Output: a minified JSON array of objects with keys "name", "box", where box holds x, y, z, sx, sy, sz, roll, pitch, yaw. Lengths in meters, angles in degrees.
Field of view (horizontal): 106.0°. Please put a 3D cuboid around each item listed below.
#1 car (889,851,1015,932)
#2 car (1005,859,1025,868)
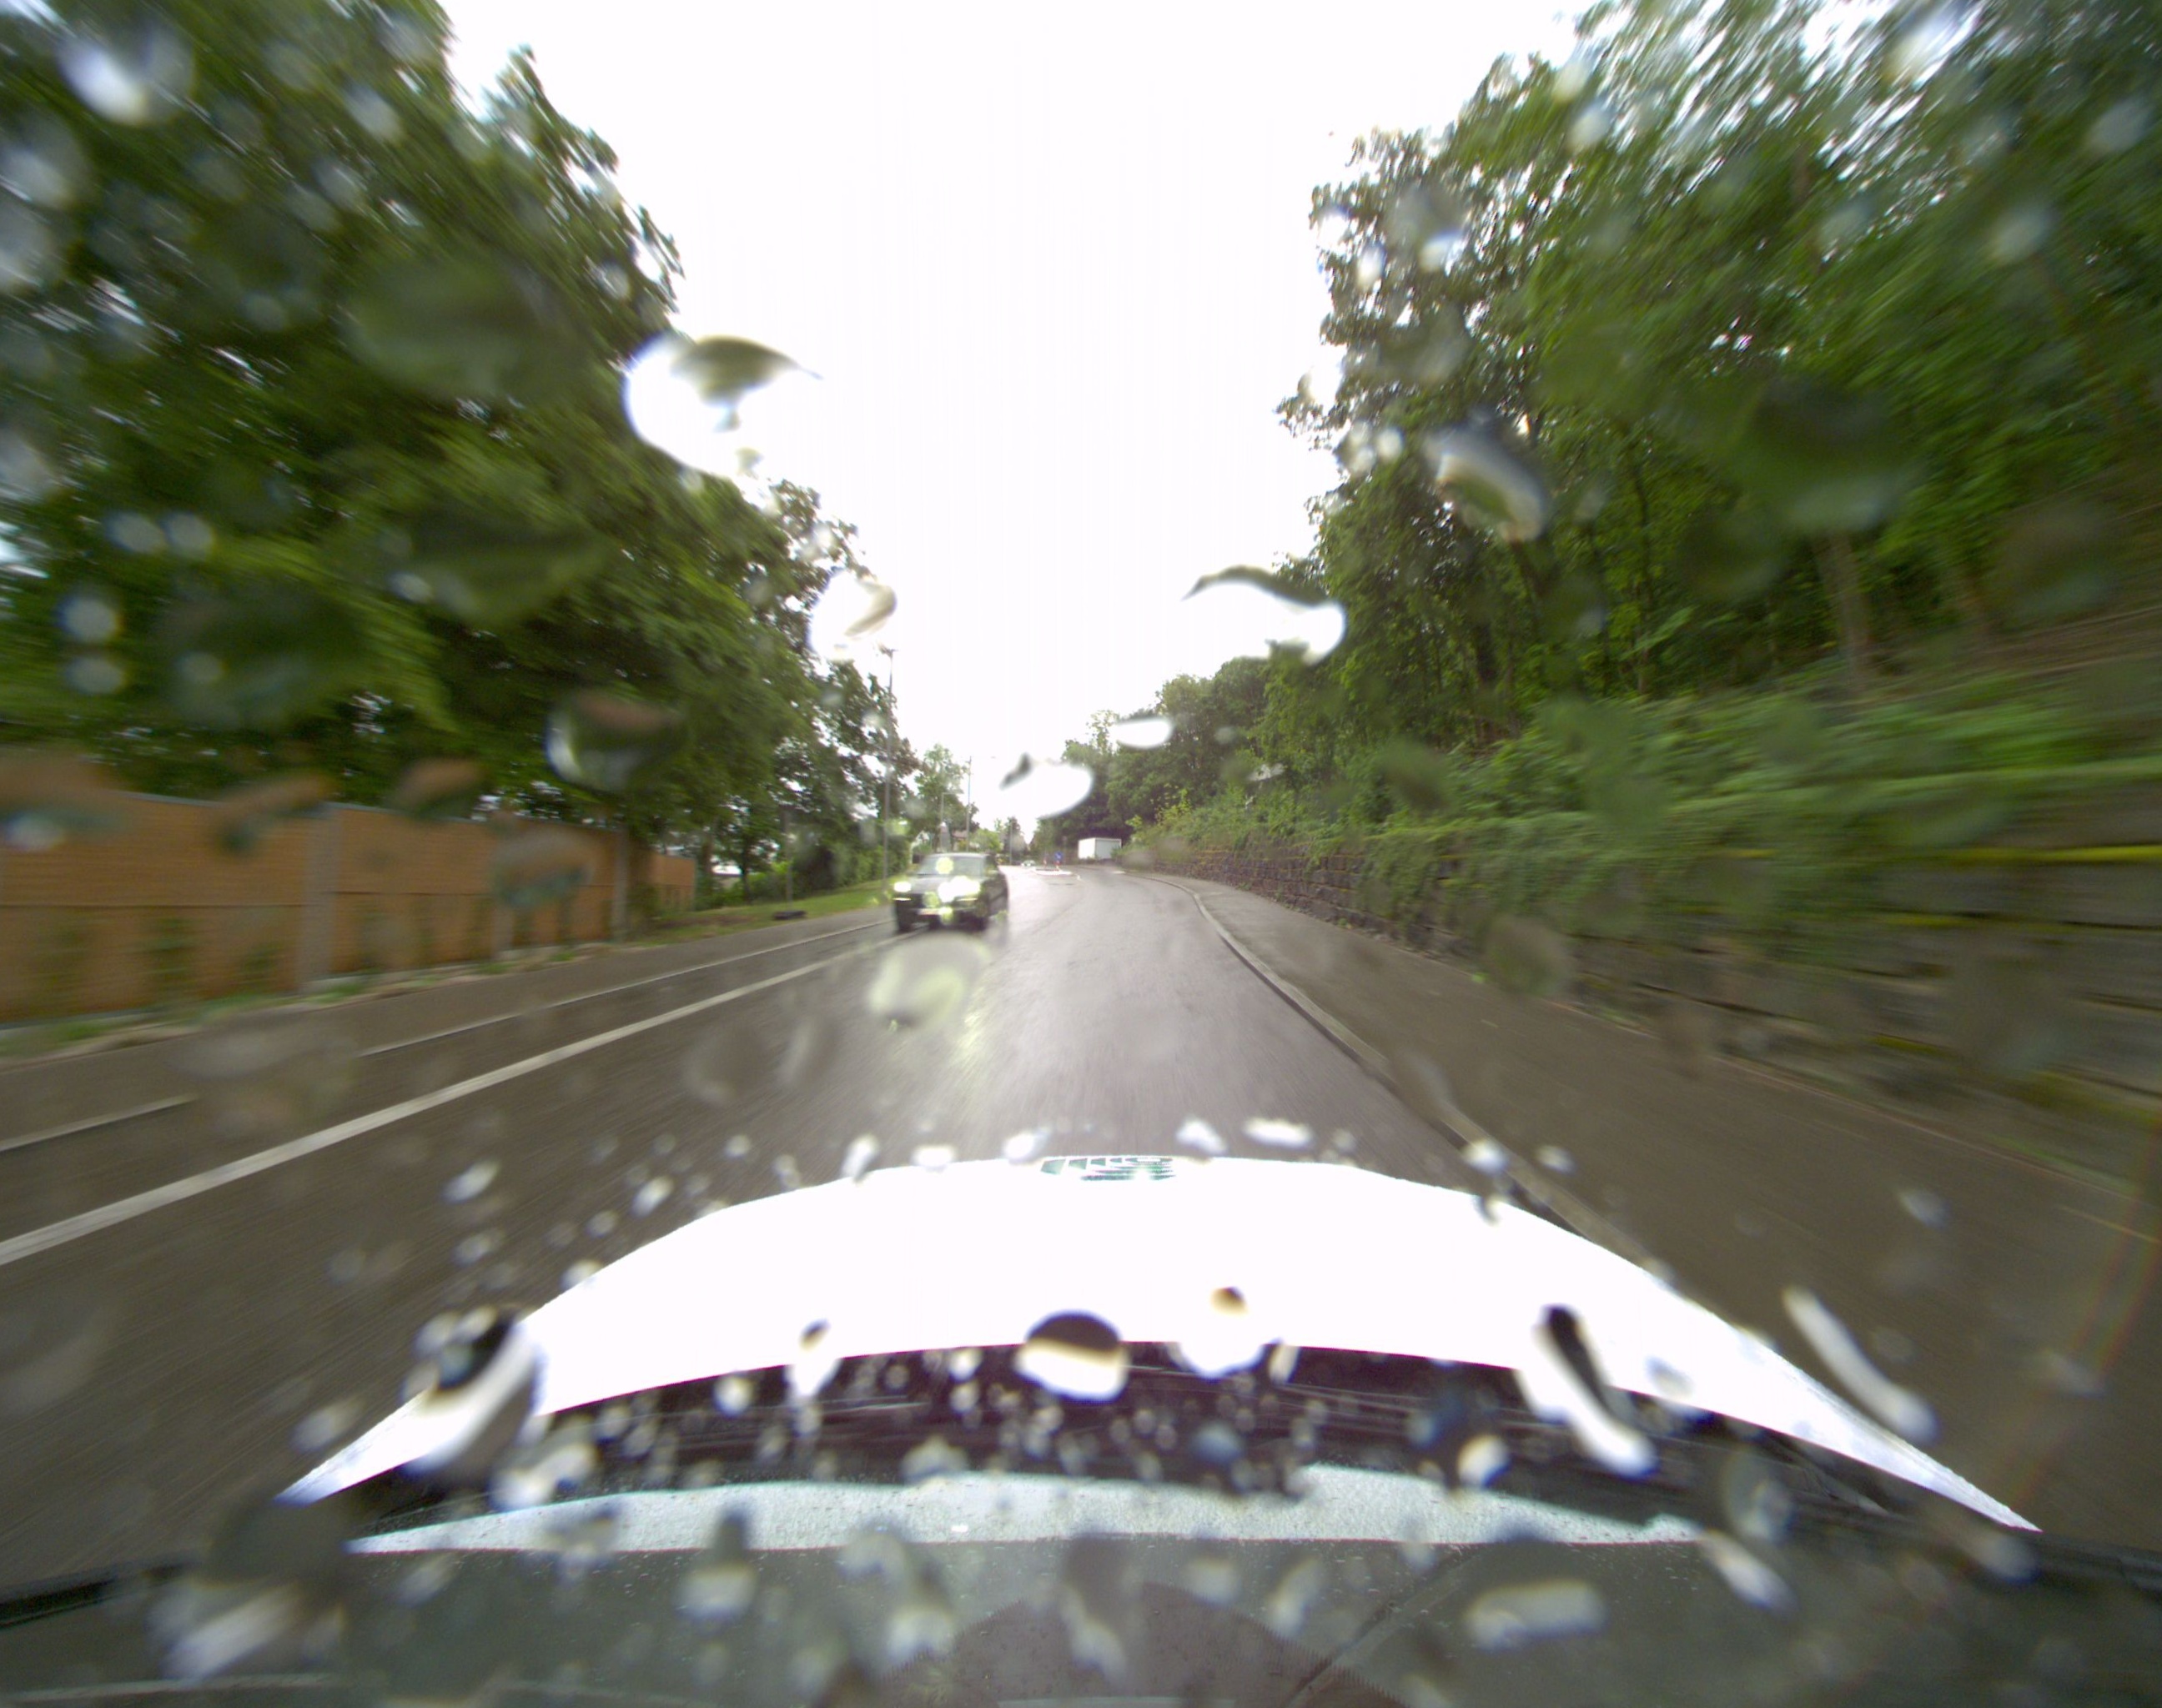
[{"name":"car","box":[-2.822,0.791,18.872,1.910,1.648,4.550,0,-1,4]},{"name":"car","box":[-12.333,1.790,151.260,1.948,1.389,3.958,6,-3,-34]}]
